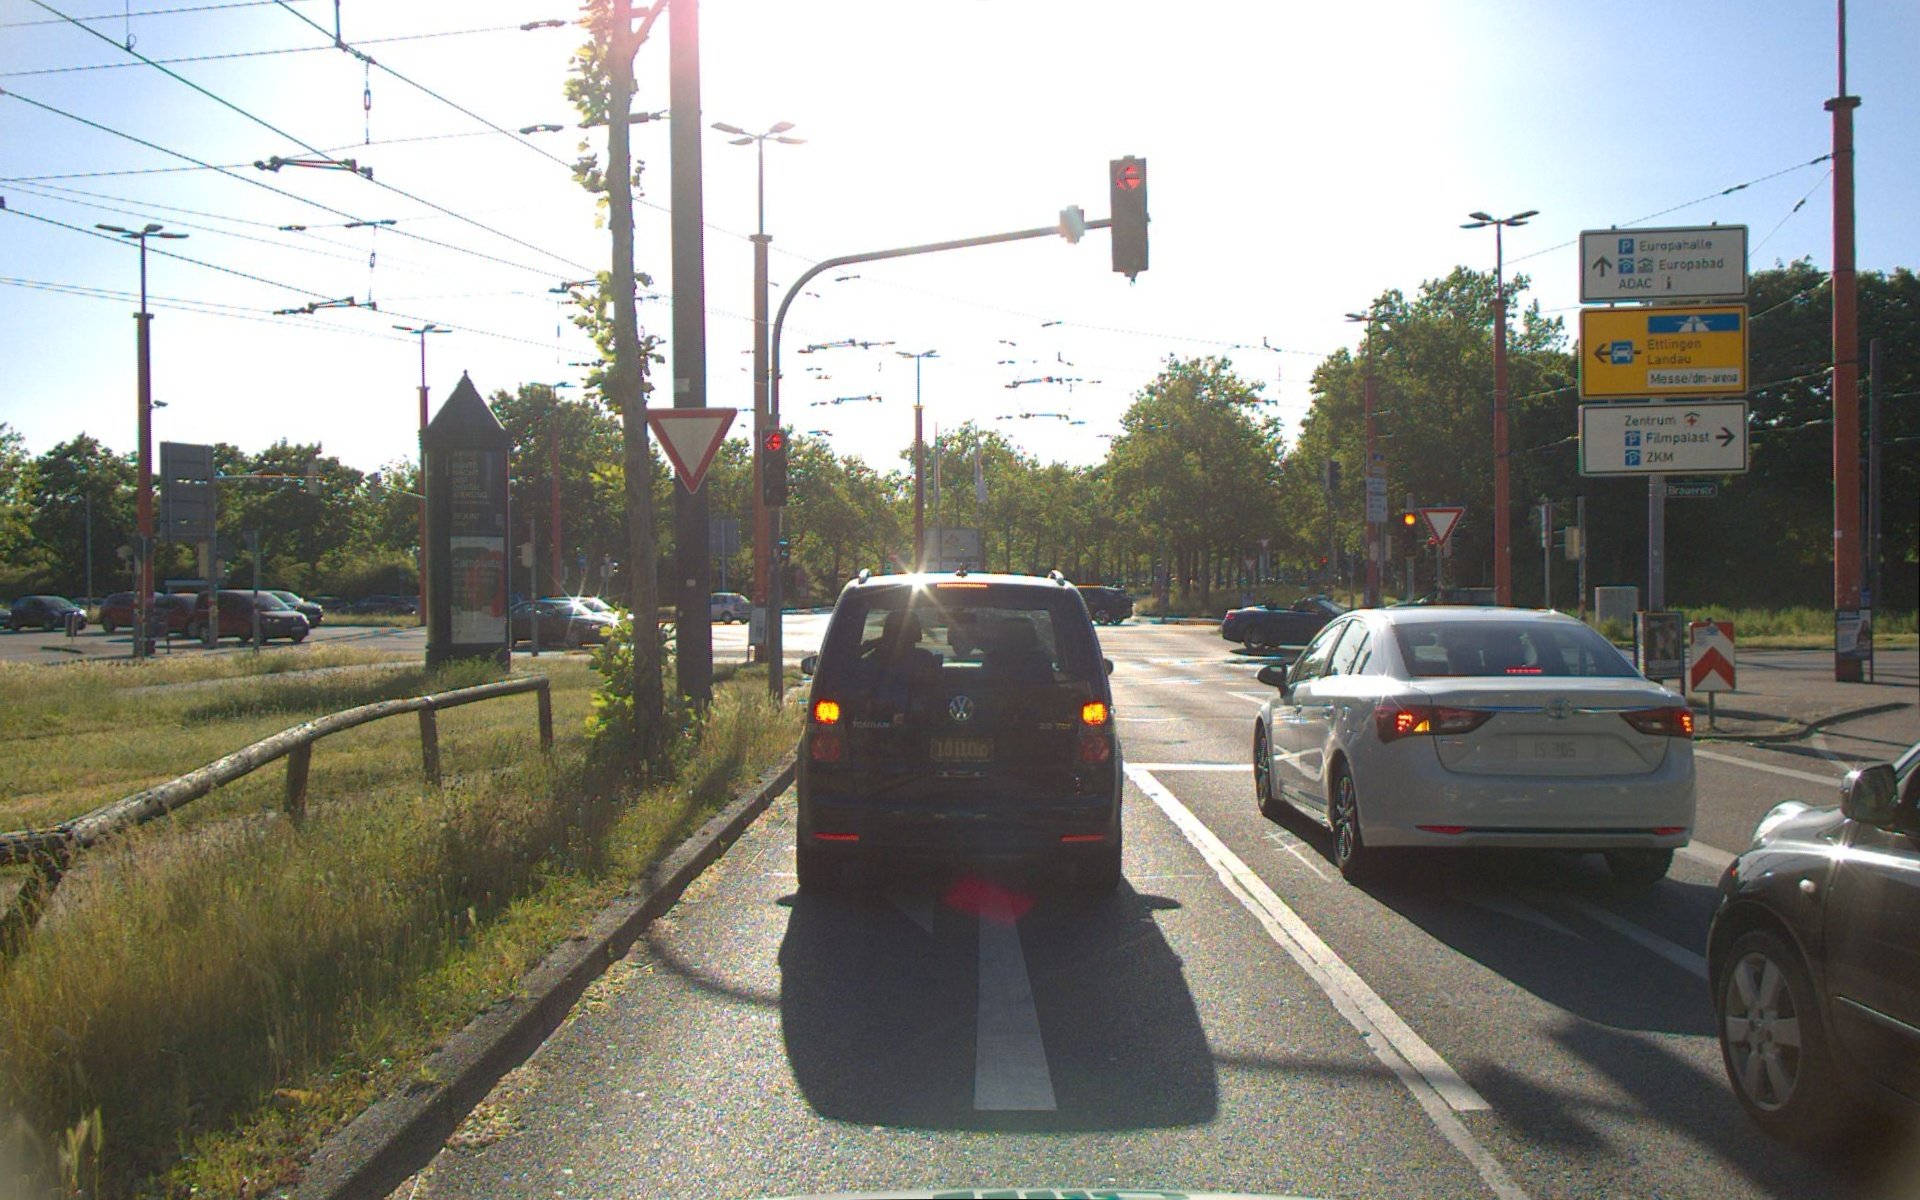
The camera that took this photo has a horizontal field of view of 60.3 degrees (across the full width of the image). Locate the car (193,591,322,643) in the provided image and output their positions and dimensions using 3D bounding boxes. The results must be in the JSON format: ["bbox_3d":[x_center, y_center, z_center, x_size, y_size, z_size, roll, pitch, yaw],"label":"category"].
[{"bbox_3d":[-24.649,0.585,58.041,4.258,1.762,1.841,0,0,26],"label":"car"}]

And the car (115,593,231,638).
[{"bbox_3d":[-30.797,0.592,64.705,4.463,1.697,1.840,0,0,28],"label":"car"}]

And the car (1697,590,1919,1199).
[{"bbox_3d":[3.129,0.740,3.506,1.525,1.532,3.515,0,0,-1],"label":"car"}]

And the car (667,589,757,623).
[{"bbox_3d":[-11.992,0.272,79.919,3.909,1.608,1.998,0,0,27],"label":"car"}]

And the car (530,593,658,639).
[{"bbox_3d":[-12.358,0.535,55.842,4.140,1.505,1.751,0,0,29],"label":"car"}]

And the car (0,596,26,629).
[{"bbox_3d":[-45.052,0.581,75.765,4.143,1.489,1.913,0,0,26],"label":"car"}]

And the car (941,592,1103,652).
[{"bbox_3d":[1.635,0.550,43.567,3.909,1.521,1.769,0,0,27],"label":"car"}]

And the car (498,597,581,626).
[{"bbox_3d":[-24.347,0.662,95.851,4.398,1.624,1.984,0,0,-26],"label":"car"}]

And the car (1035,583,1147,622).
[{"bbox_3d":[5.618,0.092,71.056,4.365,1.624,1.998,0,0,26],"label":"car"}]

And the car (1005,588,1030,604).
[{"bbox_3d":[6.279,-0.462,181.126,1.951,1.714,4.833,0,0,12],"label":"car"}]

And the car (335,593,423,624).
[{"bbox_3d":[-31.394,0.448,89.403,4.365,1.624,1.998,0,0,26],"label":"car"}]

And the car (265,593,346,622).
[{"bbox_3d":[-38.154,0.426,96.418,4.365,1.624,1.998,0,0,26],"label":"car"}]

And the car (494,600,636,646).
[{"bbox_3d":[-12.267,0.693,51.280,4.223,1.350,1.758,0,0,29],"label":"car"}]

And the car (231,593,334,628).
[{"bbox_3d":[-29.266,0.447,71.396,4.127,1.489,1.912,0,0,27],"label":"car"}]

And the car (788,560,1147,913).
[{"bbox_3d":[0.008,0.641,9.861,1.702,1.670,3.999,0,0,-1],"label":"car"}]

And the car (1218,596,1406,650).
[{"bbox_3d":[9.304,0.584,43.821,4.564,1.386,1.769,0,0,28],"label":"car"}]

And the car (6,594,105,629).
[{"bbox_3d":[-40.003,0.502,73.157,3.963,1.489,1.912,0,0,26],"label":"car"}]

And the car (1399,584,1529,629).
[{"bbox_3d":[18.644,0.238,61.193,4.365,1.624,1.998,0,0,26],"label":"car"}]

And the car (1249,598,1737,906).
[{"bbox_3d":[2.949,0.737,10.105,1.679,1.480,4.144,0,0,0],"label":"car"}]
